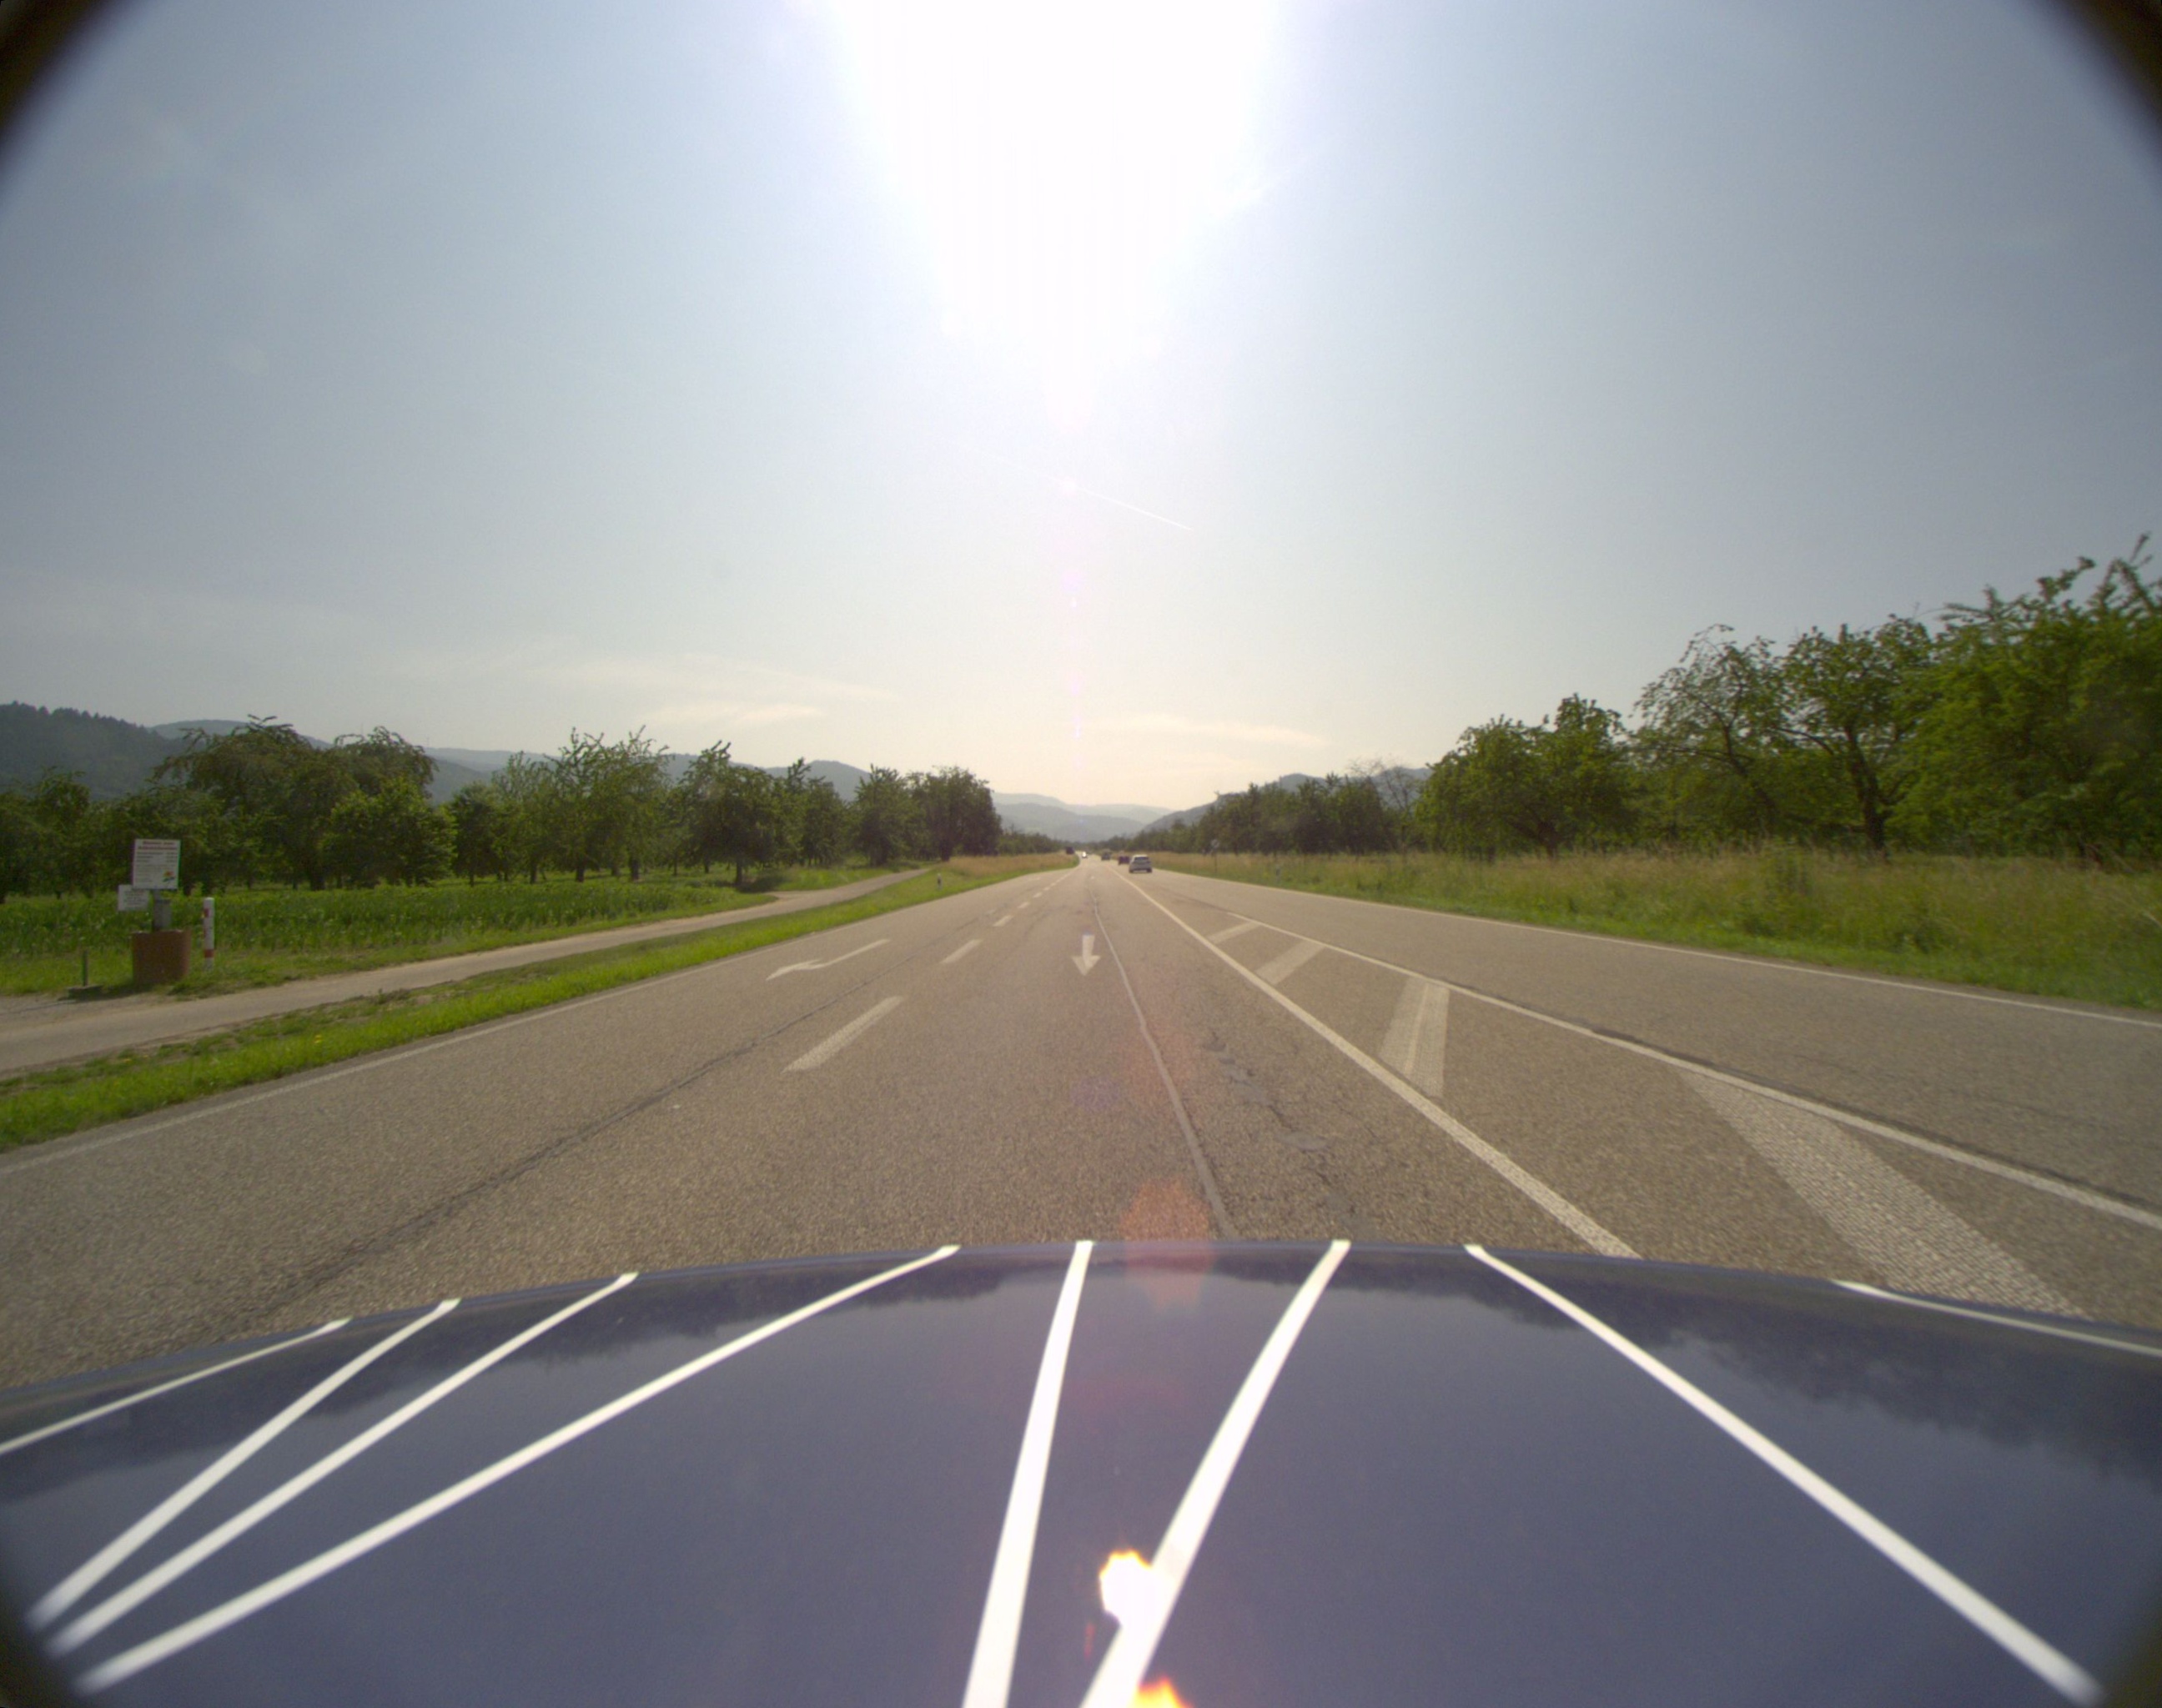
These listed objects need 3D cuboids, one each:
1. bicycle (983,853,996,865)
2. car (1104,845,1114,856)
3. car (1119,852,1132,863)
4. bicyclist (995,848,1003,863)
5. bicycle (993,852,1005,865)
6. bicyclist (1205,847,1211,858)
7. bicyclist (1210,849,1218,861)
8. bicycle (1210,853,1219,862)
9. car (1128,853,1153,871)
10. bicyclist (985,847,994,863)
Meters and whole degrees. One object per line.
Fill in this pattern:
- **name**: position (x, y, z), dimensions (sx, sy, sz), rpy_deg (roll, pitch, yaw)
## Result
- **bicycle**: position (-10.772, 0.545, 89.521), dimensions (0.751, 1.410, 2.223), rpy_deg (0, 0, 11)
- **car**: position (6.787, -0.853, 187.736), dimensions (2.166, 2.653, 6.142), rpy_deg (-2, 1, 0)
- **car**: position (6.462, 0.523, 111.500), dimensions (1.629, 1.448, 3.621), rpy_deg (-2, 0, 0)
- **bicyclist**: position (-9.649, 0.179, 89.536), dimensions (0.751, 1.856, 0.870), rpy_deg (0, 1, 11)
- **bicycle**: position (-9.641, 0.522, 89.554), dimensions (0.751, 1.410, 2.223), rpy_deg (0, 0, 11)
- **bicyclist**: position (16.756, -0.156, 100.548), dimensions (0.643, 1.406, 0.863), rpy_deg (-2, 2, 2)
- **bicyclist**: position (15.772, 0.101, 90.106), dimensions (0.742, 1.446, 0.863), rpy_deg (-2, 2, 2)
- **bicycle**: position (15.783, 0.463, 90.115), dimensions (0.742, 0.984, 2.225), rpy_deg (-2, 1, 2)
- **car**: position (5.052, 0.658, 64.716), dimensions (1.679, 1.485, 4.136), rpy_deg (-2, 0, -1)
- **bicyclist**: position (-10.772, 0.143, 89.510), dimensions (0.751, 1.918, 0.828), rpy_deg (0, 1, 11)
